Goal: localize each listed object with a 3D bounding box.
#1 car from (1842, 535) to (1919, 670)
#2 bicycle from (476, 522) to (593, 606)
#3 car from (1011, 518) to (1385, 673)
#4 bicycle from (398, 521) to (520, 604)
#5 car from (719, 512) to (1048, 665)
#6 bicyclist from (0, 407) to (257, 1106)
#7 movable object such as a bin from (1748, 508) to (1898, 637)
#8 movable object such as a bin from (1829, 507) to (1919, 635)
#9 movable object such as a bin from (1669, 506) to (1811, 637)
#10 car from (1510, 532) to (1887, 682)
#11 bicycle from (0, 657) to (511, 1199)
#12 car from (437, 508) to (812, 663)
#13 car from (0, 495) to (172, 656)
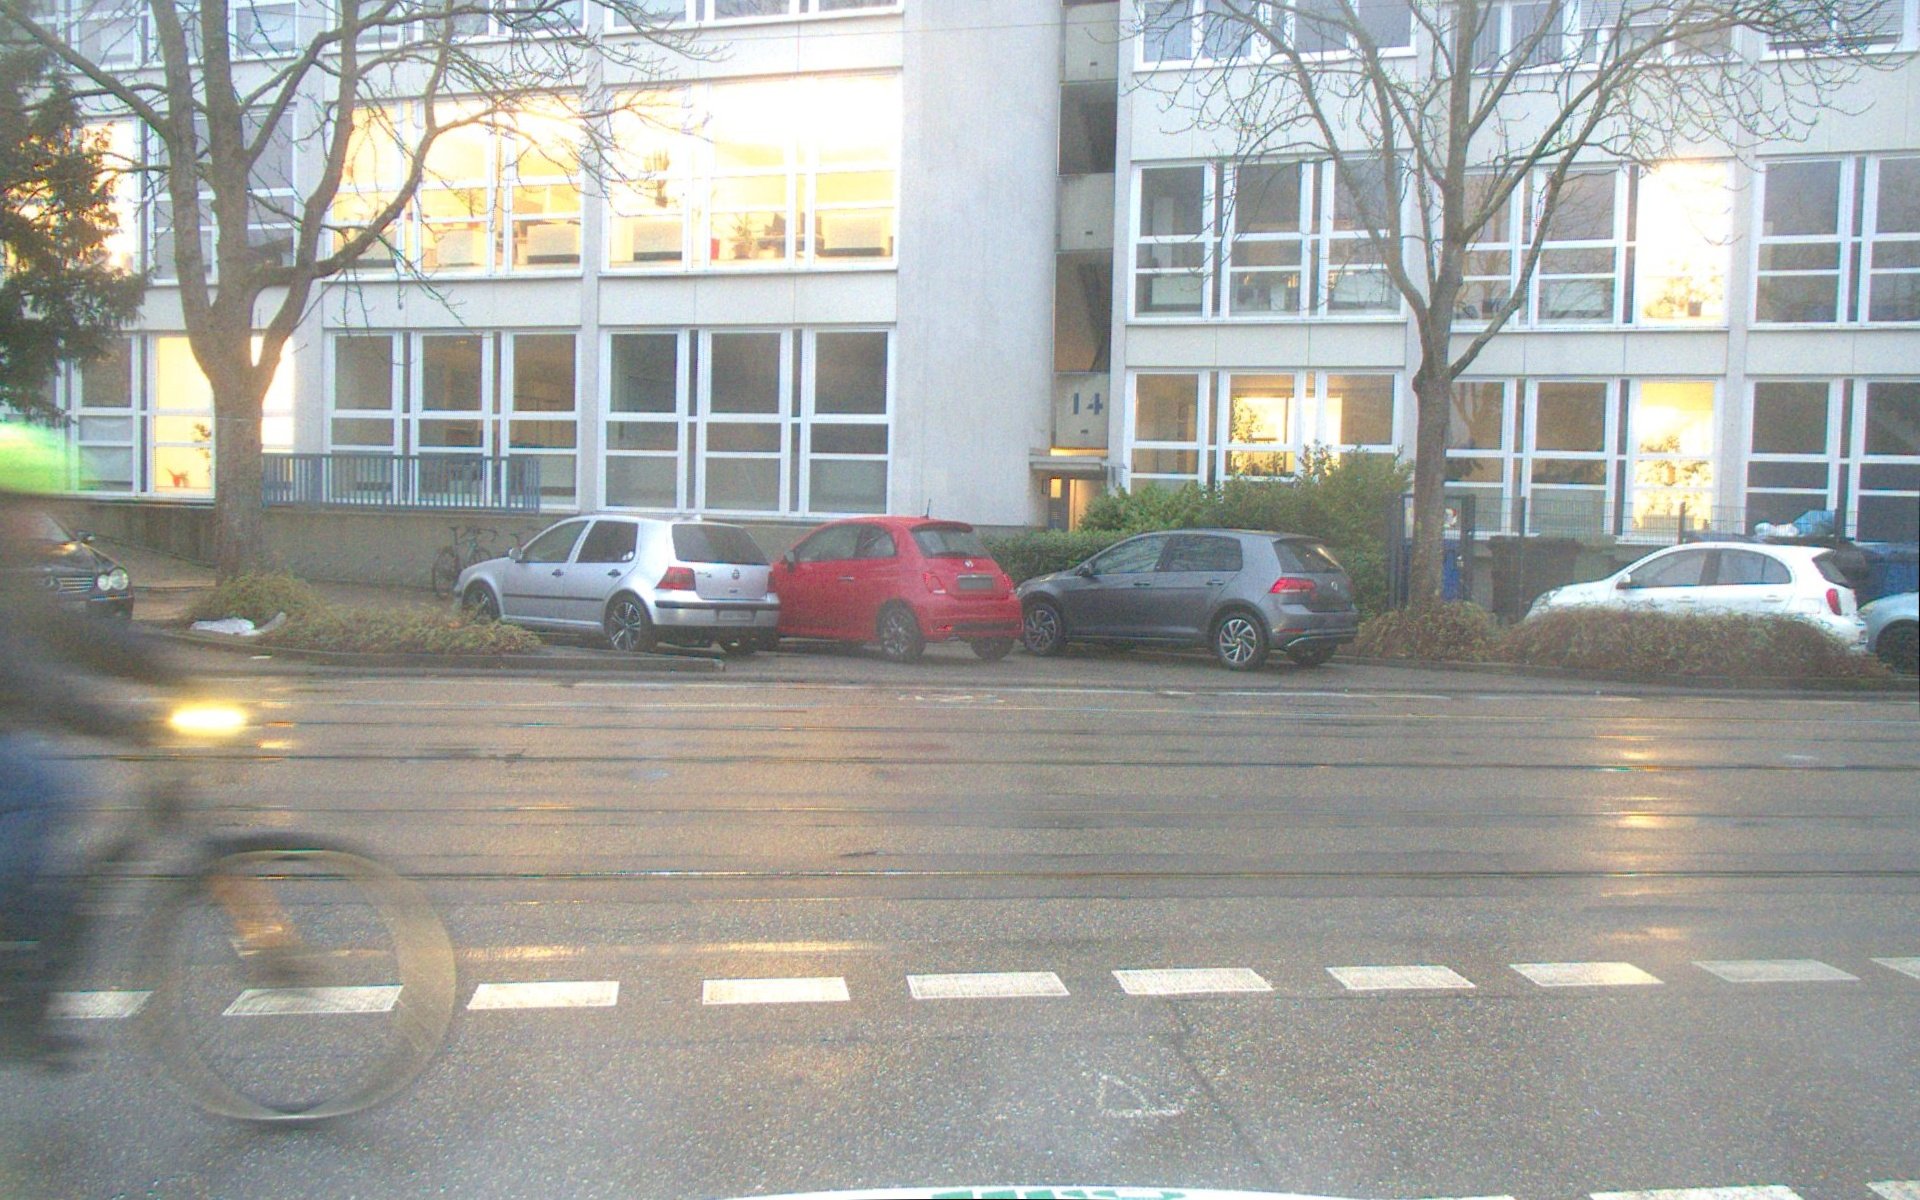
[{"bbox_3d":[12.827,0.056,19.560,3.927,1.590,1.727,3,3,41],"label":"car"},{"bbox_3d":[-6.074,-0.534,23.750,0.626,1.140,2.208,1,2,15],"label":"bicycle"},{"bbox_3d":[2.573,-0.125,18.327,3.781,1.518,1.688,3,3,39],"label":"car"},{"bbox_3d":[-7.245,-0.567,24.045,0.626,1.140,2.208,1,2,15],"label":"bicycle"},{"bbox_3d":[-0.893,-0.190,18.255,3.389,1.518,1.720,3,3,41],"label":"car"},{"bbox_3d":[-2.153,0.318,3.782,0.830,1.471,0.657,0,2,-5],"label":"bicyclist"},{"bbox_3d":[13.080,-0.443,25.123,1.362,1.892,1.573,0,2,-6],"label":"movable object such as a bin"},{"bbox_3d":[14.394,-0.464,25.279,1.288,1.892,1.573,0,2,-6],"label":"movable object such as a bin"},{"bbox_3d":[11.725,-0.452,24.937,1.288,1.892,1.573,0,2,-6],"label":"movable object such as a bin"},{"bbox_3d":[8.738,0.006,19.705,3.802,1.578,1.686,3,3,38],"label":"car"},{"bbox_3d":[-2.113,0.716,3.801,1.983,1.115,0.709,0,2,-5],"label":"bicycle"},{"bbox_3d":[-3.627,-0.229,17.627,3.921,1.471,1.786,2,3,37],"label":"car"},{"bbox_3d":[-9.515,-0.299,16.193,3.927,1.402,1.846,3,3,41],"label":"car"}]
